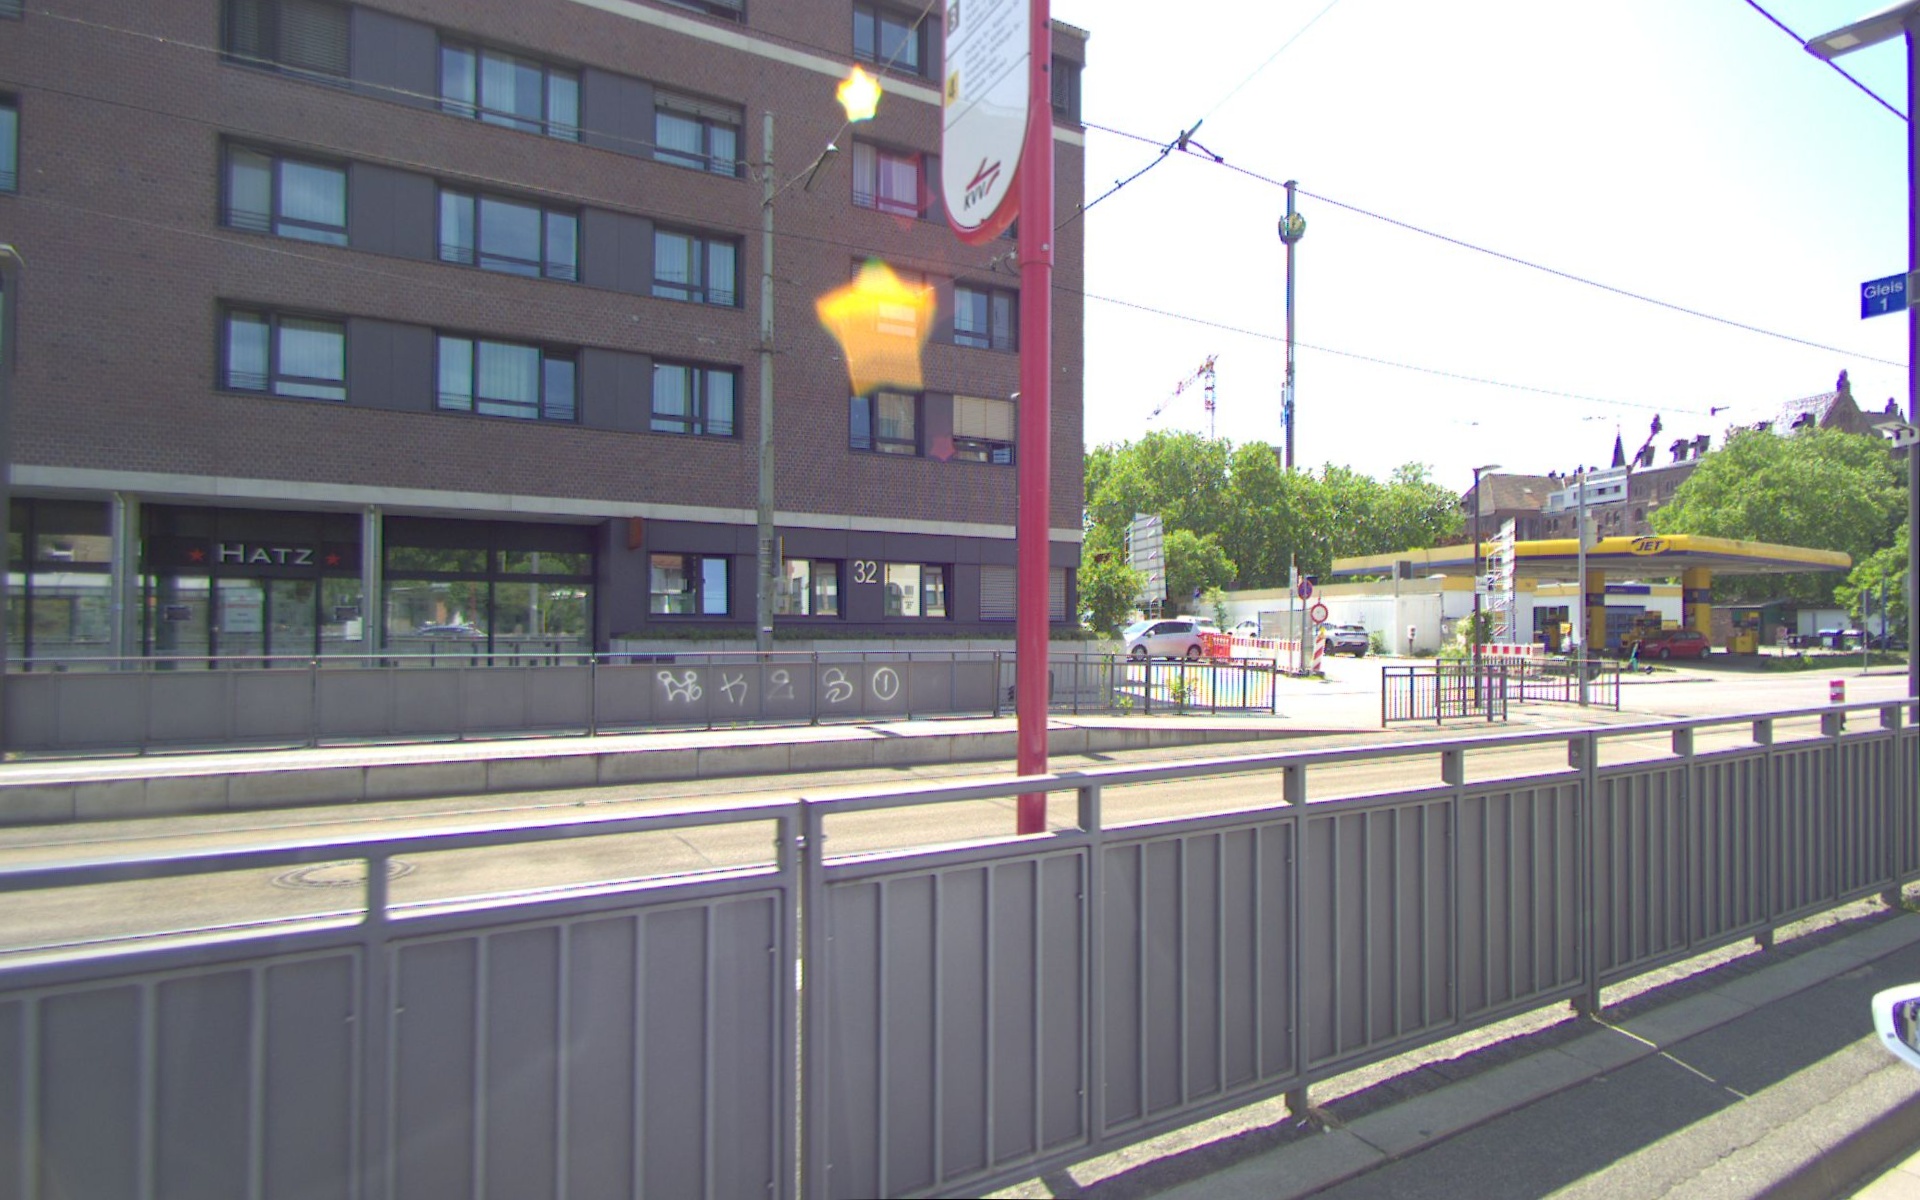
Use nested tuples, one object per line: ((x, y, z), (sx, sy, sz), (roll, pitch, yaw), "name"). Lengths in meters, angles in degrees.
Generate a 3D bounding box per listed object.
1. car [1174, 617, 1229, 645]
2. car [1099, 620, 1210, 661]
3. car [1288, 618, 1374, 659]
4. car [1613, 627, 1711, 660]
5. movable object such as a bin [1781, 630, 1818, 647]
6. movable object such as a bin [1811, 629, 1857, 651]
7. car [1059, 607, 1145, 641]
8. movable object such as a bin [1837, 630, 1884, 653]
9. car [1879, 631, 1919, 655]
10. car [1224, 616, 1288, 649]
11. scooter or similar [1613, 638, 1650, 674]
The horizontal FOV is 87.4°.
((16.274, 2.074, 67.907), (1.965, 1.686, 4.268), (1, 0, -12), "car")
((7.509, 1.541, 38.844), (3.944, 1.488, 1.727), (1, -1, -24), "car")
((17.702, 1.814, 48.164), (1.859, 1.769, 4.268), (1, 0, -12), "car")
((35.924, 2.203, 51.419), (4.126, 1.525, 1.827), (0, 1, -13), "car")
((60.880, 2.796, 72.840), (1.536, 1.153, 1.406), (1, 0, -11), "movable object such as a bin")
((61.638, 2.802, 70.837), (2.062, 1.451, 1.523), (1, 0, -11), "movable object such as a bin")
((8.266, 1.396, 58.507), (4.747, 1.930, 1.727), (1, -1, -24), "car")
((61.979, 2.843, 69.146), (2.062, 1.529, 1.523), (1, 0, -11), "movable object such as a bin")
((64.602, 2.908, 67.167), (4.361, 1.508, 1.936), (1, 0, 4), "car")
((17.949, 1.952, 61.168), (1.965, 1.805, 4.268), (1, 0, -12), "car")
((24.693, 2.058, 36.940), (1.220, 1.281, 0.345), (1, 0, -11), "scooter or similar")
